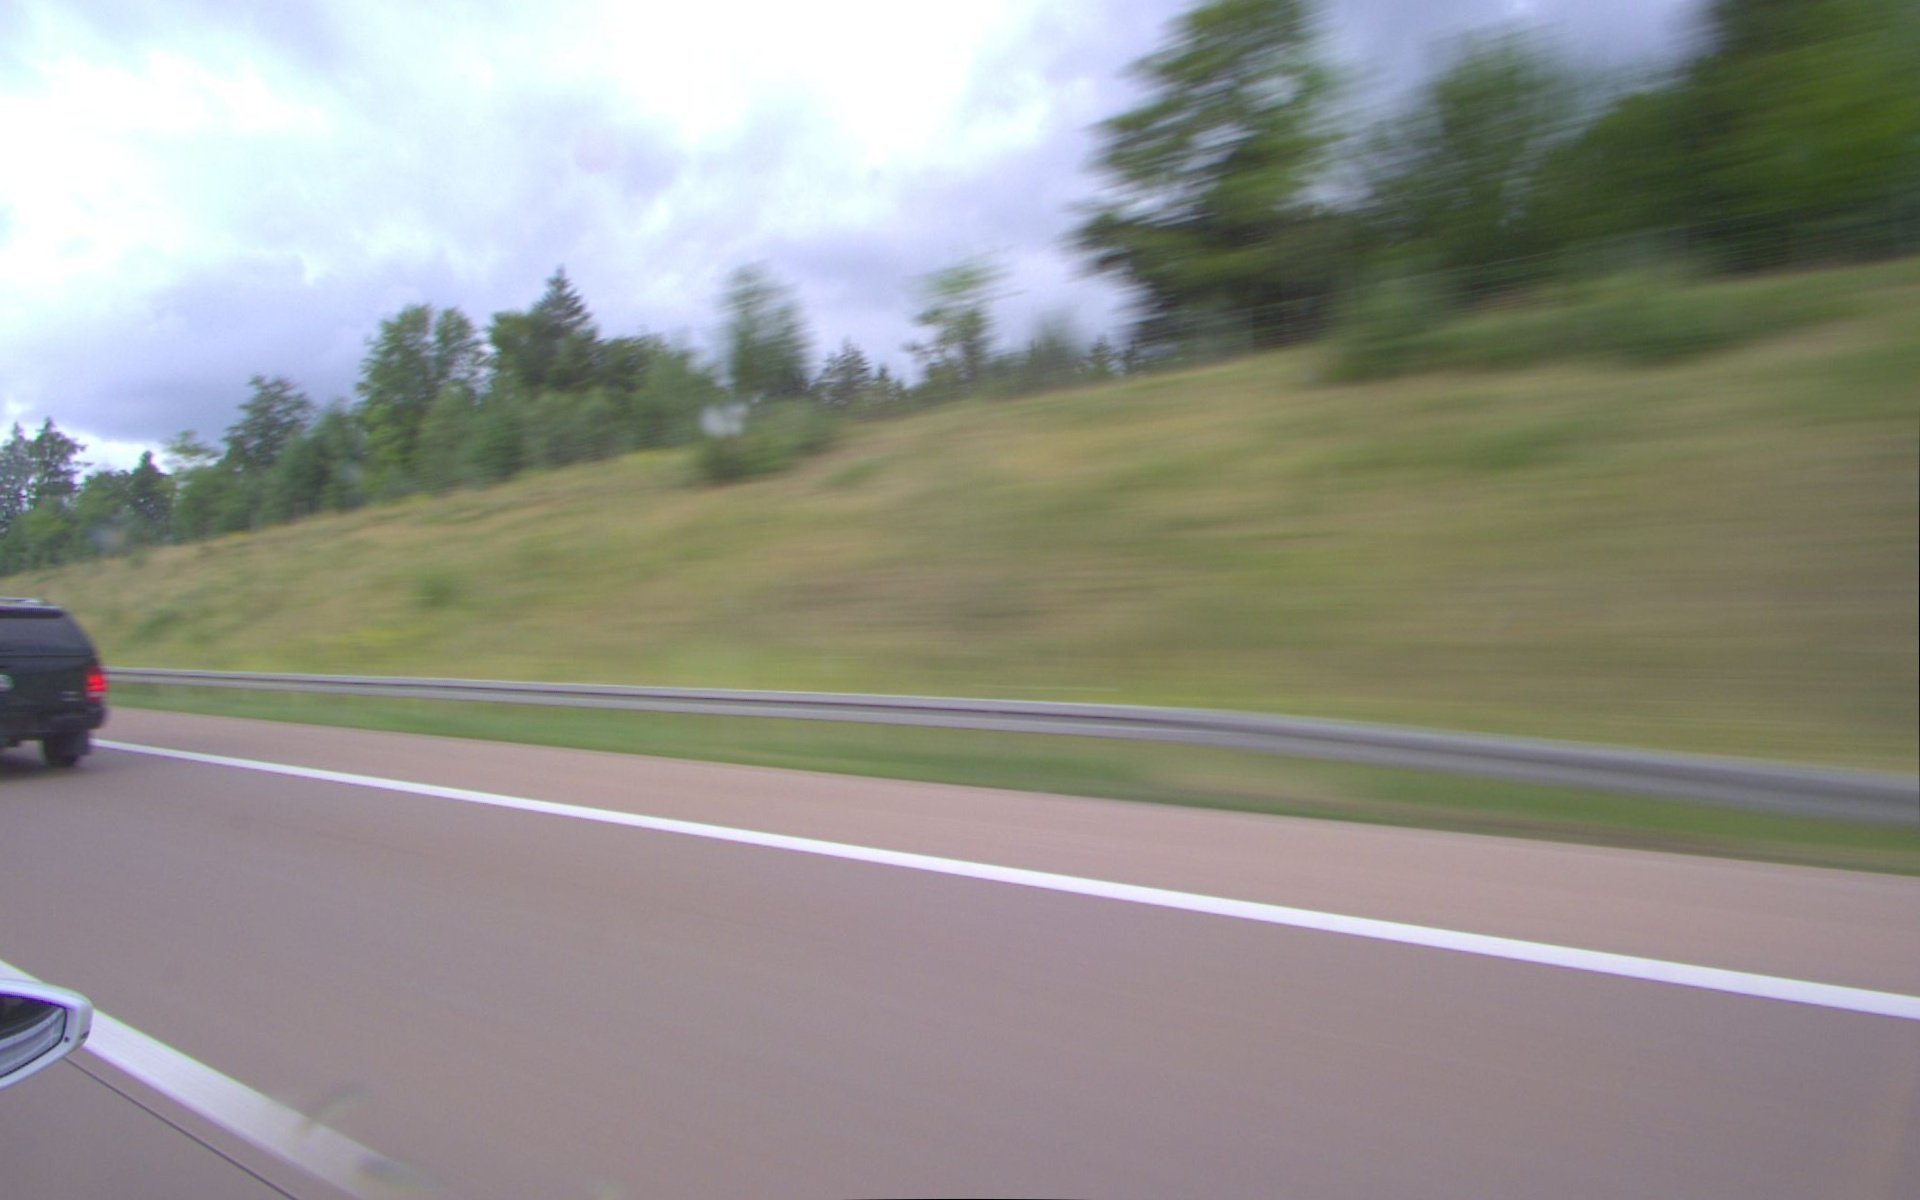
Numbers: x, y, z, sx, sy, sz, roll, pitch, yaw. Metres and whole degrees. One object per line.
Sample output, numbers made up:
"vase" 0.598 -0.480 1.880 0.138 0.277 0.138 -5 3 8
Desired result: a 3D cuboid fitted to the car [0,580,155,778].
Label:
"car" -11.550 0.848 11.384 5.497 1.921 2.040 -2 -1 32
